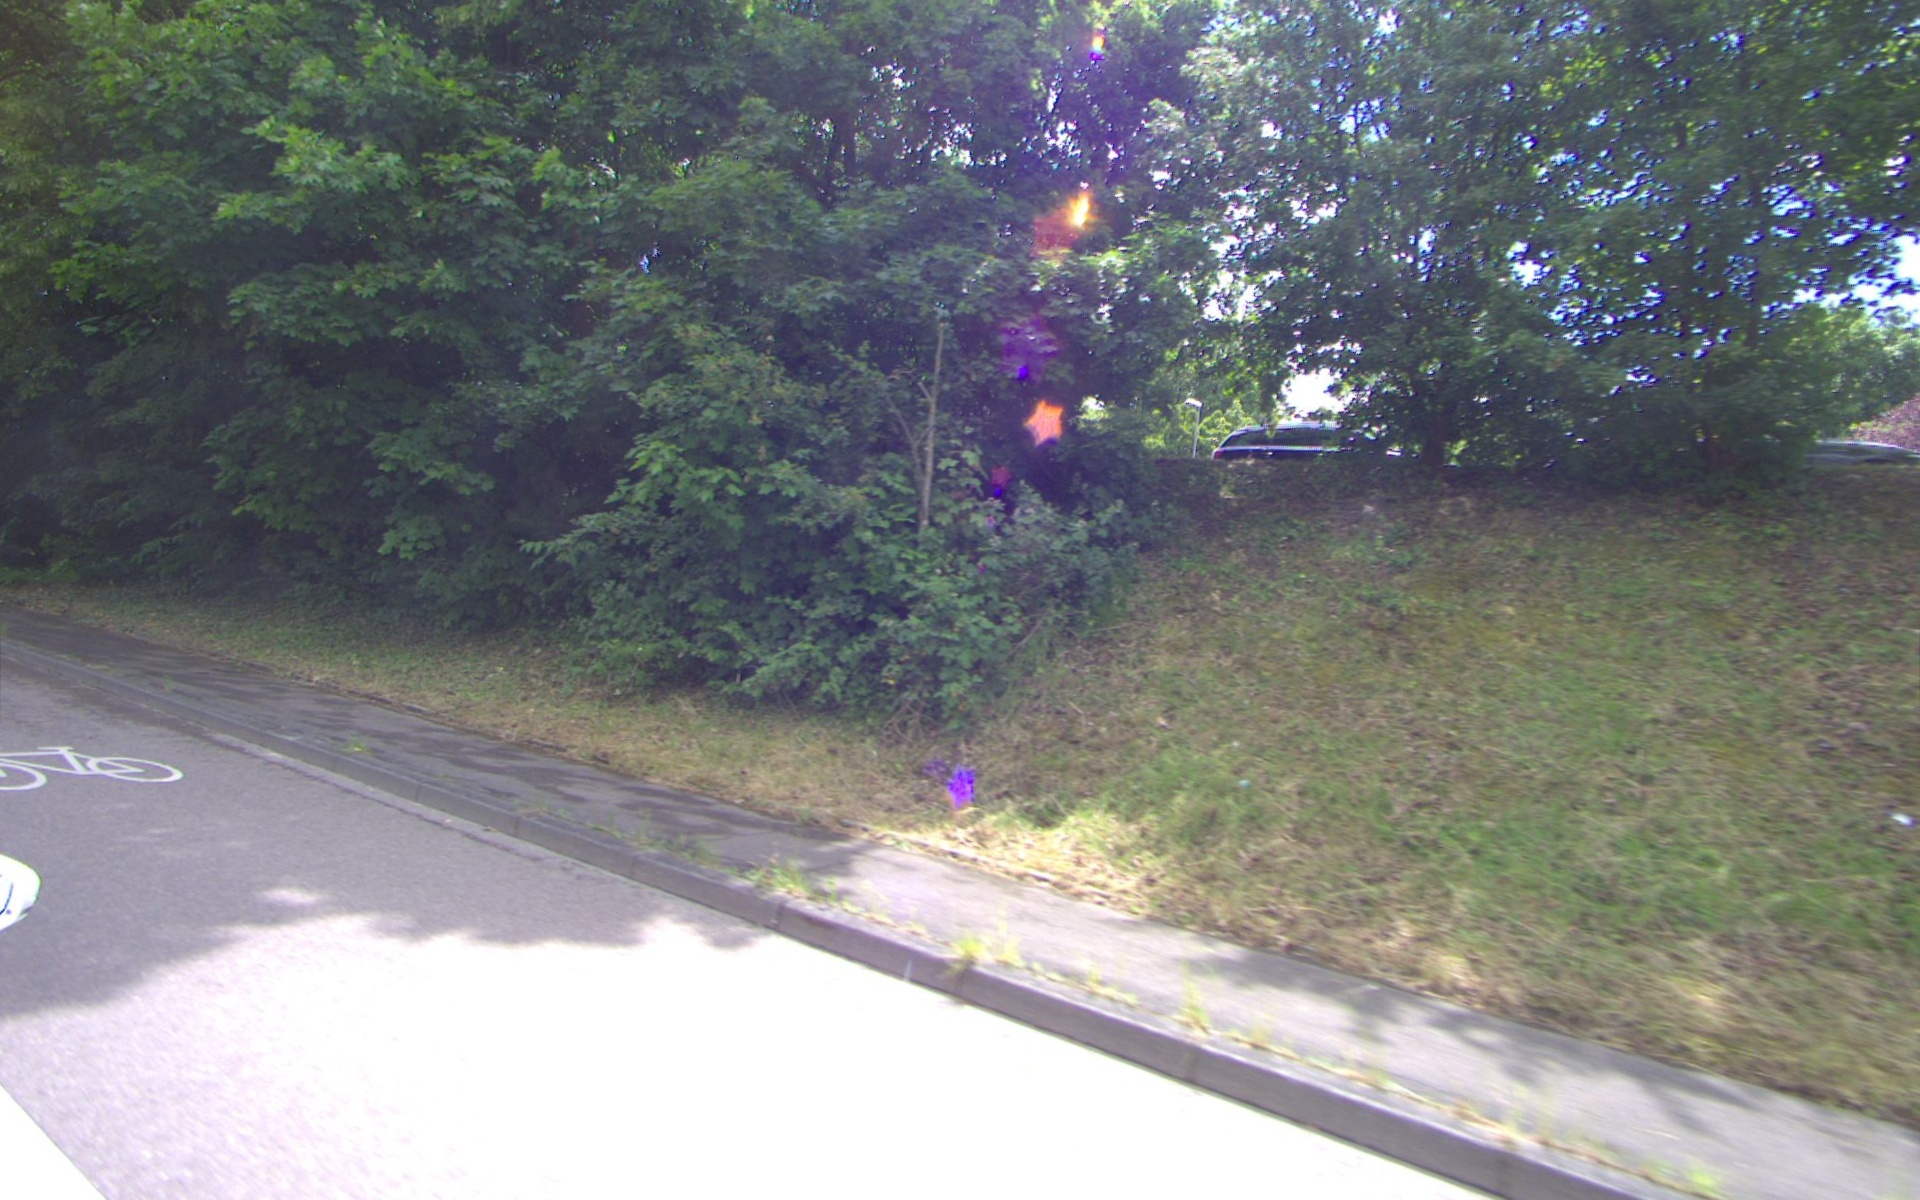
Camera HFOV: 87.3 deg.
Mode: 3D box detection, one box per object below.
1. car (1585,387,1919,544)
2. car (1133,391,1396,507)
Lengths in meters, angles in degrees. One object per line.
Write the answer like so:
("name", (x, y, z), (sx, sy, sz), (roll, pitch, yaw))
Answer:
("car", (10.404, -1.700, 12.835), (3.930, 1.516, 1.778), (6, -2, 31))
("car", (5.245, -2.605, 17.431), (3.930, 1.516, 1.778), (6, -2, 31))
